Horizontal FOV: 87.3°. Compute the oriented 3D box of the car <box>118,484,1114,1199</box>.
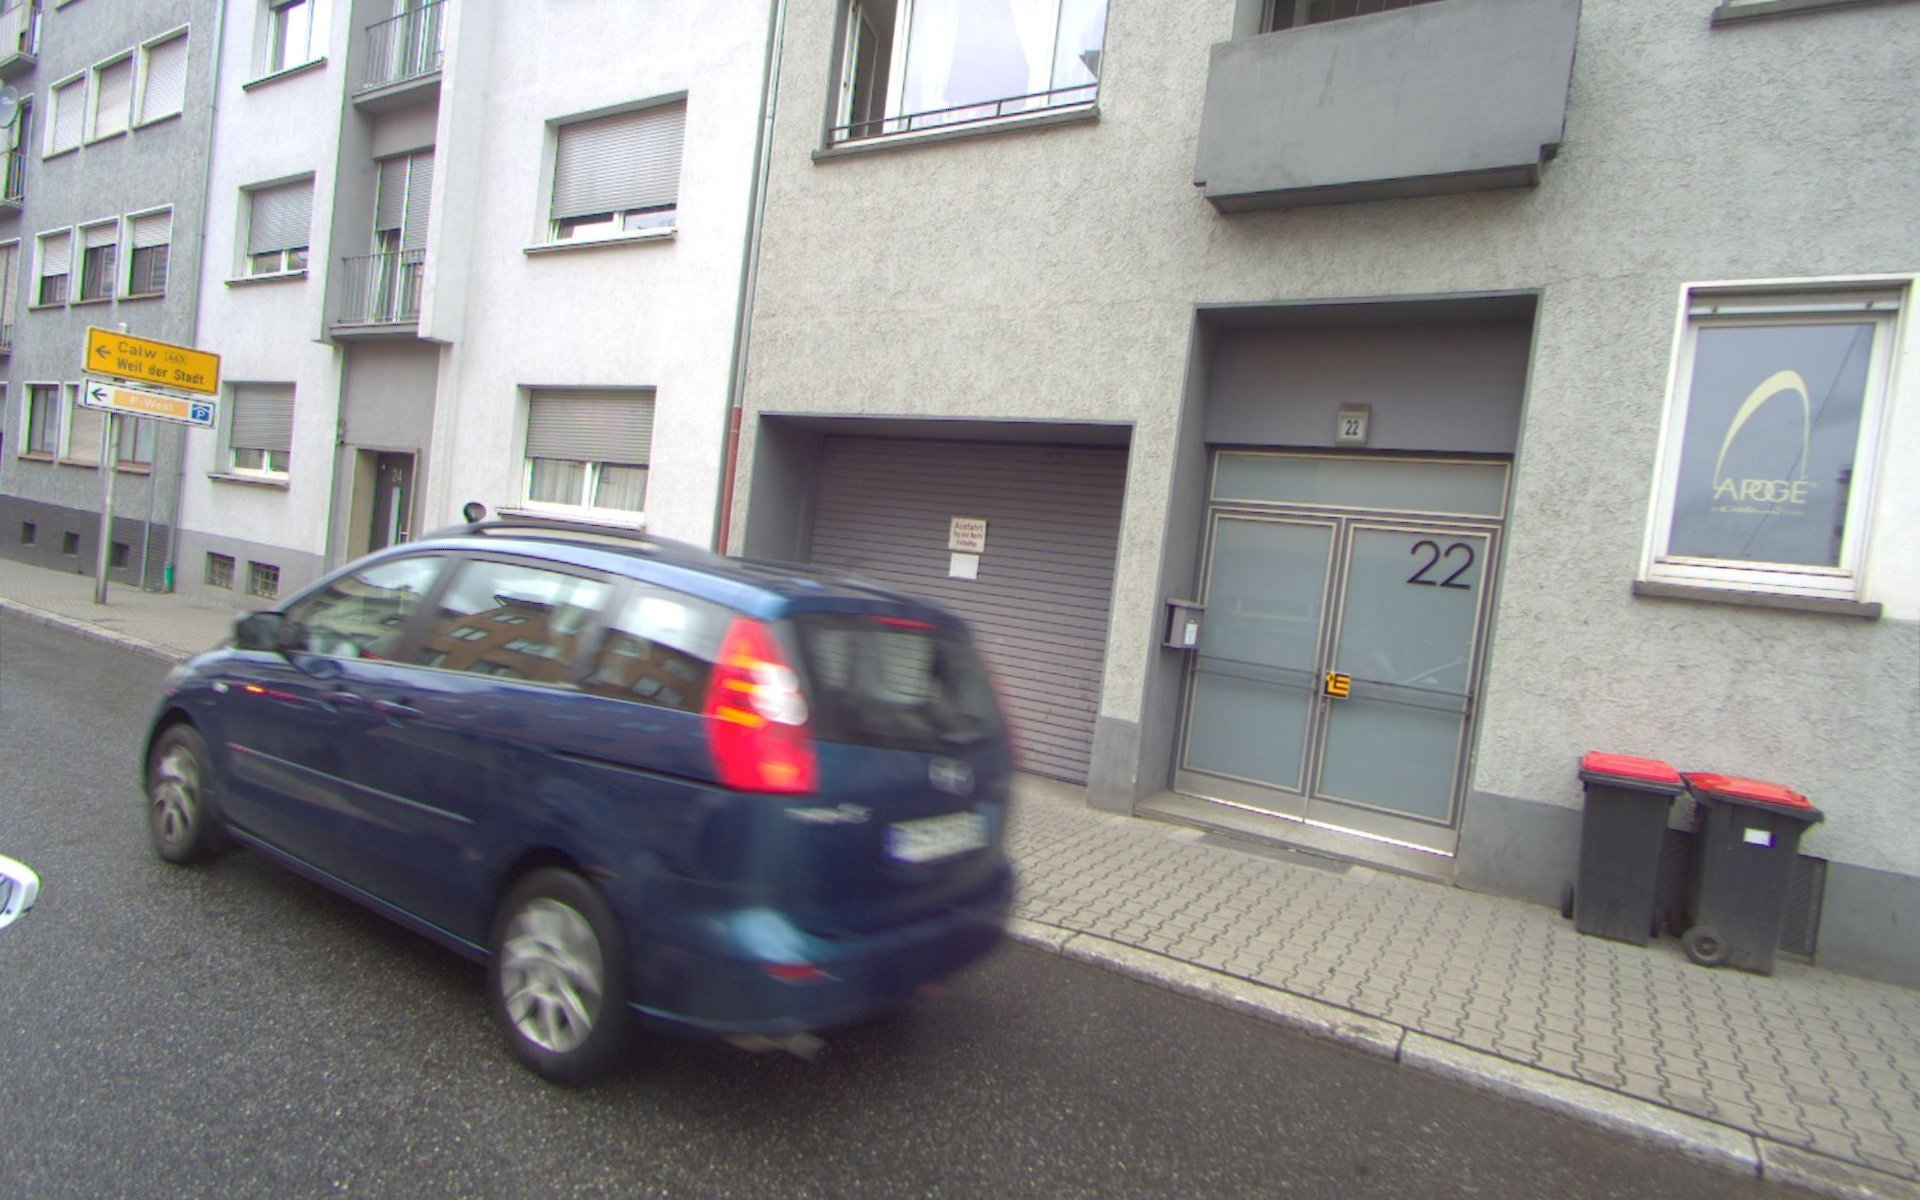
[{"bbox_3d":[-1.688,0.540,4.364,4.144,1.625,1.810,7,-1,34],"label":"car"}]

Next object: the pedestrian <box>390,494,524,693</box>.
[{"bbox_3d":[-4.915,-0.080,9.820,1.039,1.802,0.643,7,4,31],"label":"pedestrian"}]

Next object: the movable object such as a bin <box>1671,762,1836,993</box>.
[{"bbox_3d":[4.035,1.383,5.155,0.507,0.963,0.539,7,4,32],"label":"movable object such as a bin"}]

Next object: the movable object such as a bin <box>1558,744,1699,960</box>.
[{"bbox_3d":[3.603,1.332,5.455,0.507,0.969,0.539,7,4,32],"label":"movable object such as a bin"}]
